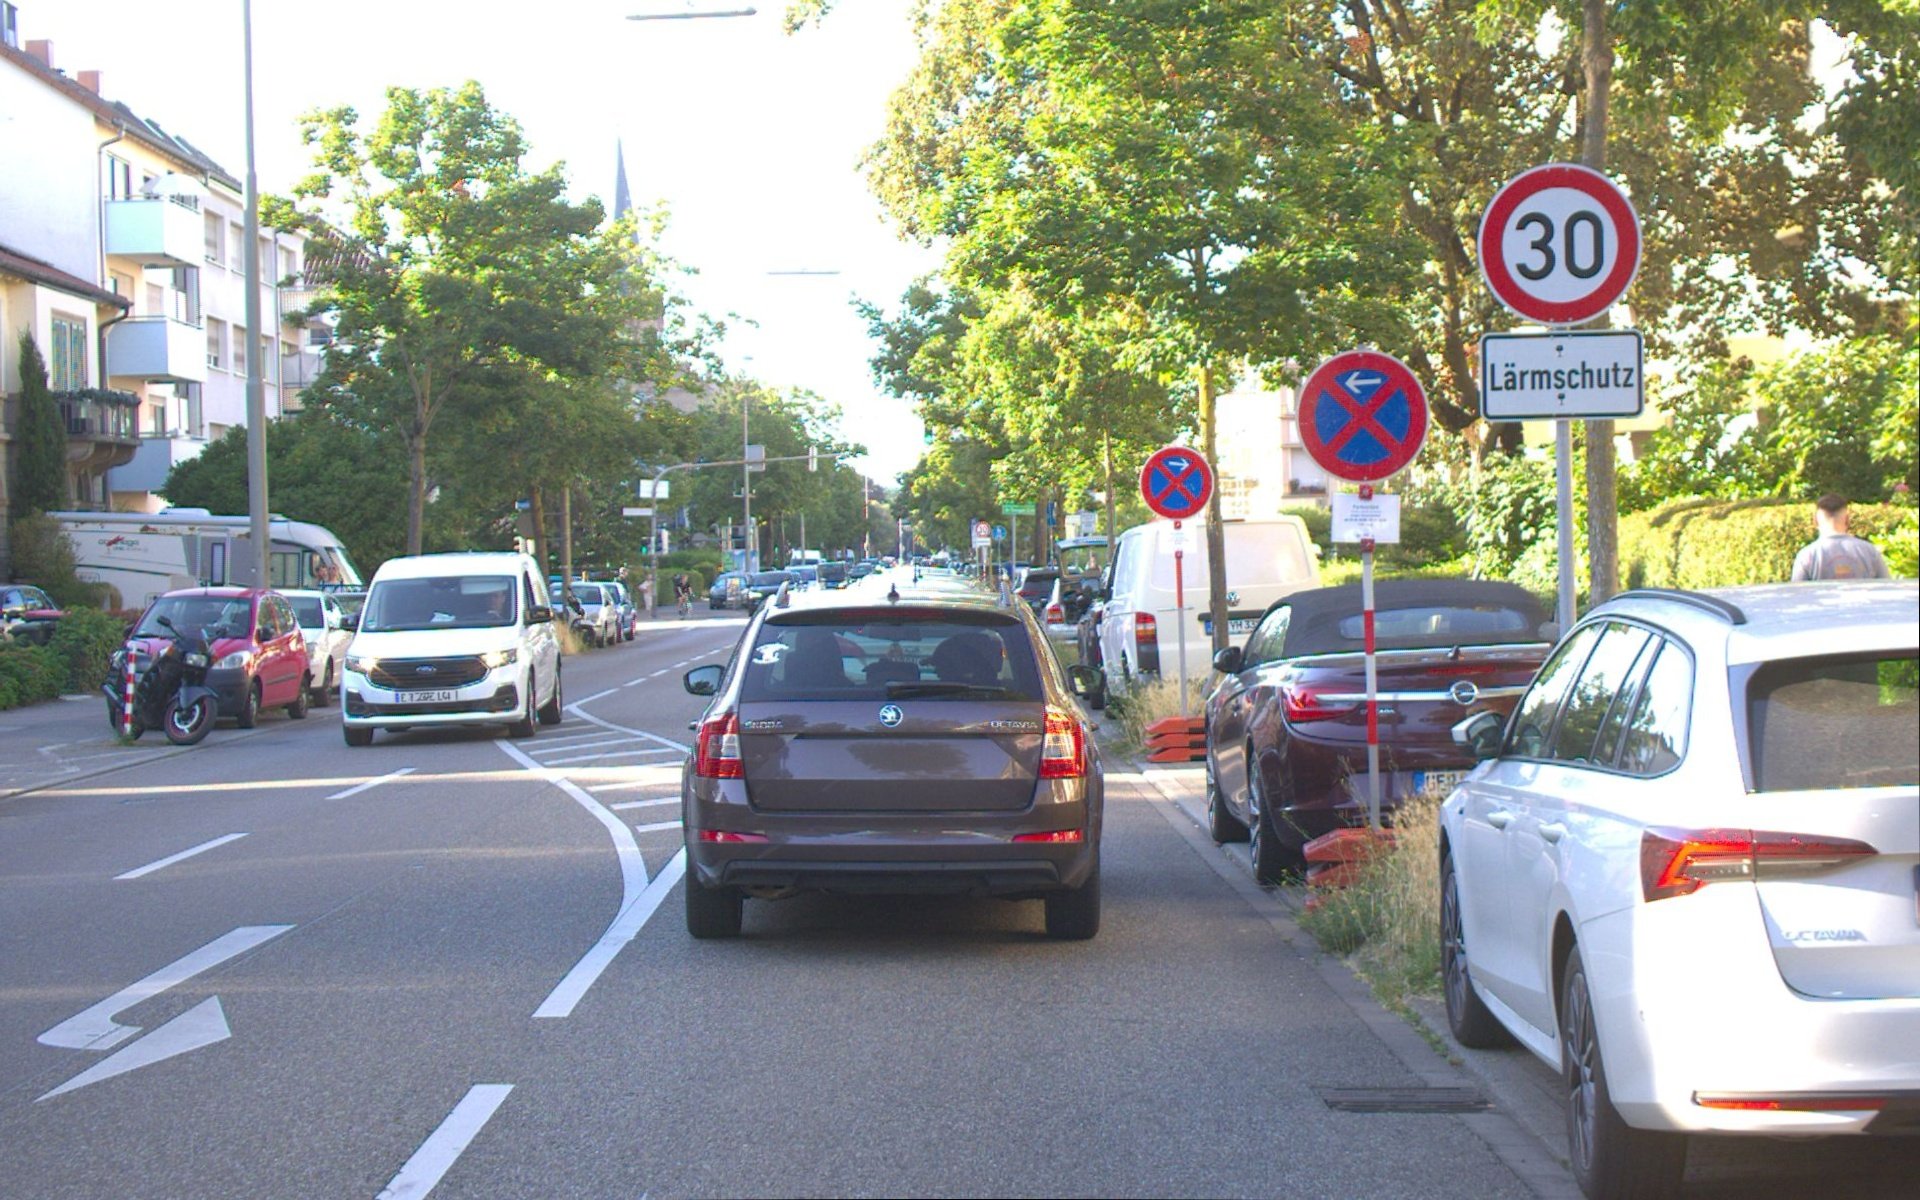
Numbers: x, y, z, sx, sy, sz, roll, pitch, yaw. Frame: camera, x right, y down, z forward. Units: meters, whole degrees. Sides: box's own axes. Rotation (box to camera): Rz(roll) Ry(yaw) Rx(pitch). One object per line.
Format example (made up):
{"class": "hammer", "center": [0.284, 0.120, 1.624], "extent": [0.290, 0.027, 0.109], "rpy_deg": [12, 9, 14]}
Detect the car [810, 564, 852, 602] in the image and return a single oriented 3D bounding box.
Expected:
{"class": "car", "center": [-6.783, -0.902, 181.170], "extent": [1.993, 1.902, 4.964], "rpy_deg": [-3, 1, -1]}

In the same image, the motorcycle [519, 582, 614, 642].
{"class": "motorcycle", "center": [-8.524, 0.262, 74.397], "extent": [2.052, 1.260, 0.765], "rpy_deg": [-1, 1, 38]}

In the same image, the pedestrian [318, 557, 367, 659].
{"class": "pedestrian", "center": [-10.980, 0.141, 61.133], "extent": [0.713, 1.786, 0.505], "rpy_deg": [-1, 0, 2]}

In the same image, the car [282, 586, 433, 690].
{"class": "car", "center": [-8.619, 0.514, 49.404], "extent": [1.543, 1.392, 3.666], "rpy_deg": [-1, 1, -1]}

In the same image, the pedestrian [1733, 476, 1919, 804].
{"class": "pedestrian", "center": [4.903, 0.210, 19.209], "extent": [0.820, 1.768, 1.089], "rpy_deg": [-1, 0, -5]}

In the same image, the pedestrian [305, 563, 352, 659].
{"class": "pedestrian", "center": [-11.815, 0.205, 64.370], "extent": [0.713, 1.786, 0.572], "rpy_deg": [-1, 0, 2]}

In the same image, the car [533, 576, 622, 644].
{"class": "car", "center": [-8.668, 0.209, 78.126], "extent": [1.593, 1.465, 3.803], "rpy_deg": [1, 1, 0]}

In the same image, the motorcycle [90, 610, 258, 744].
{"class": "motorcycle", "center": [-7.945, 0.754, 34.662], "extent": [1.179, 1.262, 2.370], "rpy_deg": [-2, 1, -24]}

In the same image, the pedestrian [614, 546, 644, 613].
{"class": "pedestrian", "center": [-9.974, -0.628, 103.703], "extent": [0.780, 1.981, 0.821], "rpy_deg": [-1, 0, 0]}

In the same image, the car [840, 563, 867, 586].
{"class": "car", "center": [-7.768, -1.855, 250.033], "extent": [1.830, 1.574, 4.000], "rpy_deg": [-1, 1, 0]}

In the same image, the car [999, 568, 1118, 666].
{"class": "car", "center": [1.597, 0.244, 57.154], "extent": [1.708, 1.475, 4.268], "rpy_deg": [-3, 1, -1]}

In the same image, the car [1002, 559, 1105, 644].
{"class": "car", "center": [1.865, 0.006, 69.775], "extent": [1.855, 1.576, 4.014], "rpy_deg": [-3, 1, -1]}

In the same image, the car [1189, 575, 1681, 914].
{"class": "car", "center": [2.295, 0.634, 17.791], "extent": [1.757, 1.415, 4.615], "rpy_deg": [-3, 1, -1]}

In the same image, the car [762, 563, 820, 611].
{"class": "car", "center": [-5.993, -0.465, 122.393], "extent": [1.835, 1.565, 4.000], "rpy_deg": [-3, 0, -1]}

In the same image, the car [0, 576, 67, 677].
{"class": "car", "center": [-14.381, 0.394, 50.110], "extent": [1.665, 1.404, 3.753], "rpy_deg": [-2, 1, 1]}

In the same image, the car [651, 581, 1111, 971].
{"class": "car", "center": [-0.341, 0.667, 15.414], "extent": [1.773, 1.484, 4.311], "rpy_deg": [0, 1, -1]}

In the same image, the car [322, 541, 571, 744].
{"class": "car", "center": [-5.028, 0.377, 34.233], "extent": [1.888, 1.797, 4.432], "rpy_deg": [-3, 1, -2]}

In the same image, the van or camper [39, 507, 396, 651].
{"class": "van or camper", "center": [-15.160, -0.439, 70.501], "extent": [6.797, 2.763, 2.352], "rpy_deg": [1, 0, -1]}

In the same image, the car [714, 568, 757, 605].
{"class": "car", "center": [-9.180, -0.569, 140.504], "extent": [1.522, 1.452, 3.585], "rpy_deg": [-1, 1, 0]}

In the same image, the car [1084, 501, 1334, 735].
{"class": "car", "center": [2.348, 0.142, 33.588], "extent": [1.903, 2.096, 4.641], "rpy_deg": [-1, 1, -2]}

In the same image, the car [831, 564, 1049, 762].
{"class": "car", "center": [-0.149, 0.484, 29.632], "extent": [1.737, 1.565, 4.000], "rpy_deg": [1, 1, 0]}

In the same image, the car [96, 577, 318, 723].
{"class": "car", "center": [-8.369, 0.529, 38.472], "extent": [1.593, 1.518, 3.436], "rpy_deg": [-1, 1, 2]}

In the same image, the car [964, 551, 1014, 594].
{"class": "car", "center": [1.236, -1.154, 144.769], "extent": [1.994, 1.766, 4.000], "rpy_deg": [1, 1, 2]}

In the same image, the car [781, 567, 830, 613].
{"class": "car", "center": [-6.352, -0.439, 141.955], "extent": [1.805, 1.798, 4.746], "rpy_deg": [-3, 1, -1]}

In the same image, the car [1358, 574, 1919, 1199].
{"class": "car", "center": [2.285, 0.688, 9.370], "extent": [1.821, 1.472, 4.622], "rpy_deg": [-1, 1, 0]}

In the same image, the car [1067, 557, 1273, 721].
{"class": "car", "center": [2.261, 0.384, 38.120], "extent": [1.856, 1.598, 4.311], "rpy_deg": [-4, 1, -1]}

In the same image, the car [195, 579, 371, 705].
{"class": "car", "center": [-8.738, 0.507, 44.634], "extent": [1.593, 1.518, 3.891], "rpy_deg": [-1, 1, -2]}
